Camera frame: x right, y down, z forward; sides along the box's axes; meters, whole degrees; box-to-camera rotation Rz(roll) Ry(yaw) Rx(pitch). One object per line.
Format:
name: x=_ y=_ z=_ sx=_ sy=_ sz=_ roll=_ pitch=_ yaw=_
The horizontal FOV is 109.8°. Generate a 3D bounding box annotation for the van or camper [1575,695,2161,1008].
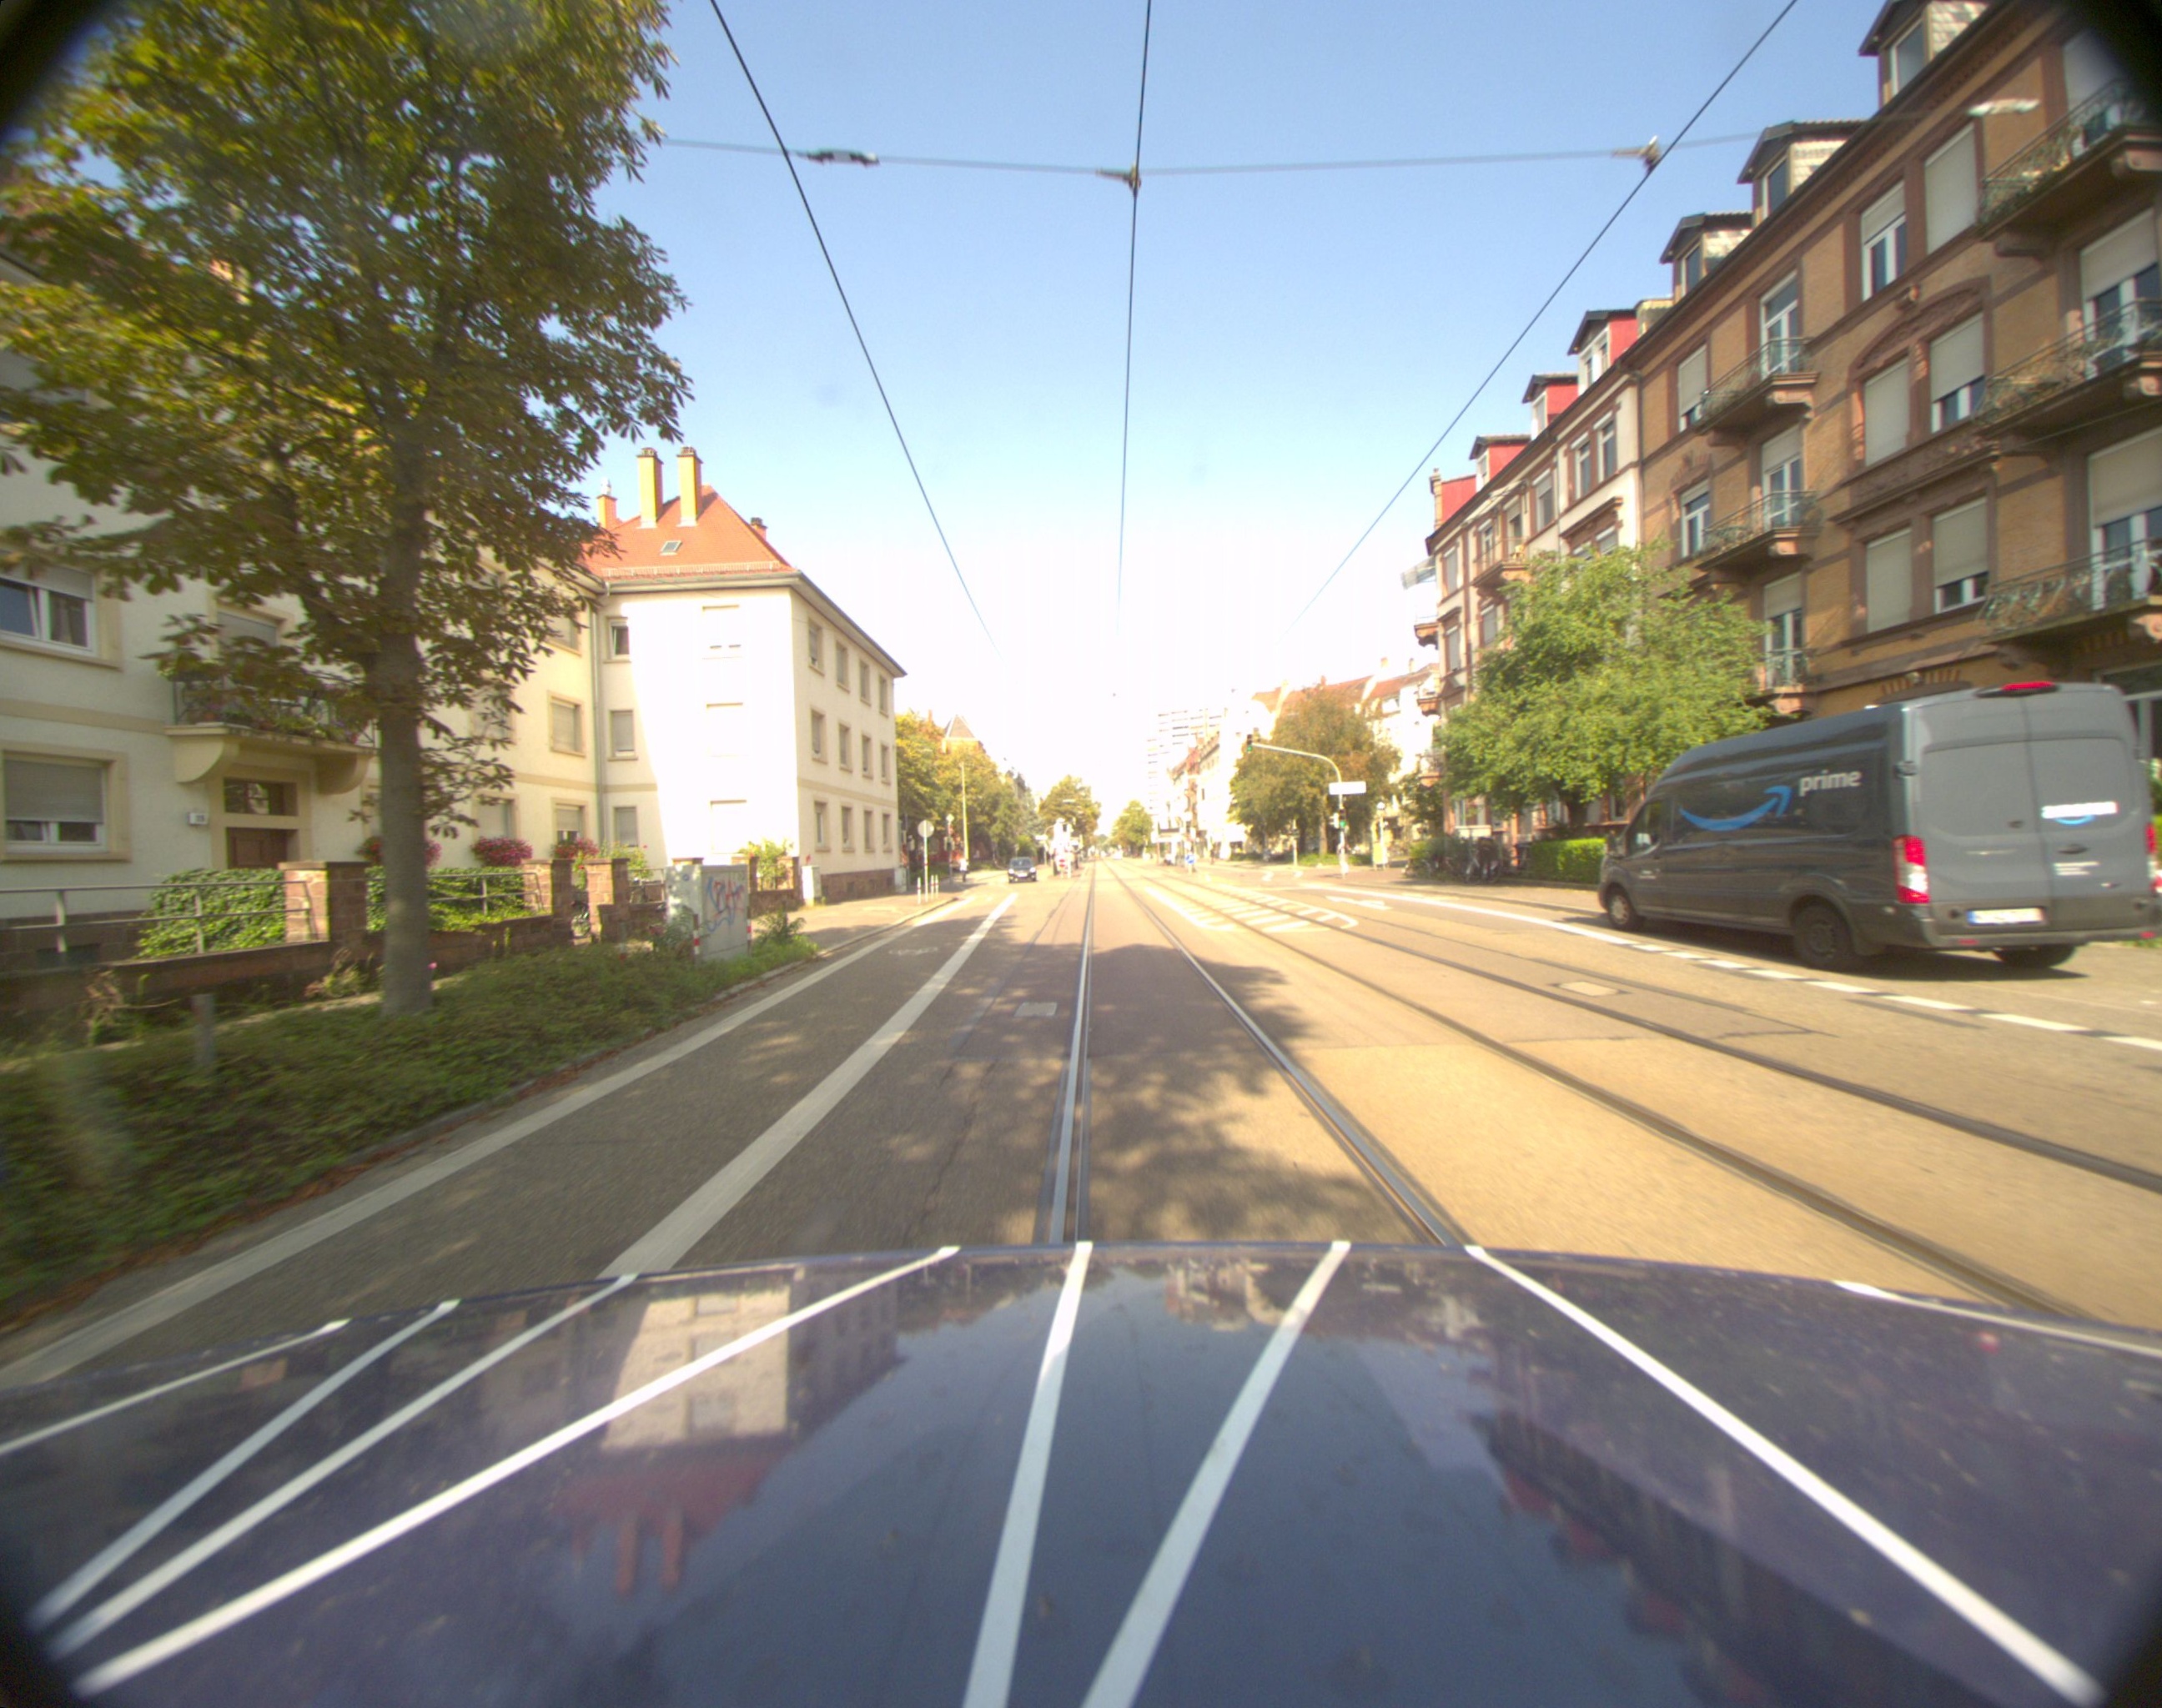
van or camper: x=8.836 y=-0.054 z=9.497 sx=2.054 sy=2.629 sz=6.092 roll=-2 pitch=1 yaw=8

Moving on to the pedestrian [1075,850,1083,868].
pedestrian: x=-0.183 y=0.448 z=71.465 sx=0.590 sy=1.711 sz=0.607 roll=-2 pitch=1 yaw=3

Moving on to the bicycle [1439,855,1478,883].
bicycle: x=12.494 y=0.478 z=25.189 sx=0.527 sy=0.855 sz=1.703 roll=-3 pitch=0 yaw=4

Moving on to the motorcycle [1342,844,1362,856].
motorcycle: x=29.860 y=-0.413 z=83.734 sx=1.885 sy=1.170 sz=0.677 roll=-4 pitch=1 yaw=-14

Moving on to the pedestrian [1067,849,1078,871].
pedestrian: x=-0.701 y=0.482 z=61.412 sx=0.769 sy=1.750 sz=0.680 roll=-2 pitch=1 yaw=0

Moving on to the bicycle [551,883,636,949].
bicycle: x=-10.180 y=1.263 z=15.929 sx=0.455 sy=1.209 sz=1.740 roll=-3 pitch=1 yaw=6

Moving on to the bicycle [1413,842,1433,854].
bicycle: x=32.614 y=-0.604 z=72.519 sx=0.774 sy=1.097 sz=2.333 roll=-3 pitch=0 yaw=-1

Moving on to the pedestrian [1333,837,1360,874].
pedestrian: x=13.051 y=0.052 z=37.378 sx=0.907 sy=1.756 sz=1.186 roll=-2 pitch=1 yaw=5

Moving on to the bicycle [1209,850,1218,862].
bicycle: x=13.093 y=0.209 z=75.138 sx=0.686 sy=1.097 sz=2.069 roll=-2 pitch=0 yaw=3

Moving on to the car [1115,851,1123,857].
car: x=8.210 y=-0.005 z=165.251 sx=1.732 sy=1.426 sz=3.922 roll=-2 pitch=0 yaw=2

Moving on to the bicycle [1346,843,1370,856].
bicycle: x=30.157 y=-0.464 z=82.850 sx=2.303 sy=1.363 sz=0.867 roll=-2 pitch=1 yaw=-10

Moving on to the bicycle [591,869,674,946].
bicycle: x=-9.306 y=1.064 z=15.842 sx=0.455 sy=1.446 sz=1.740 roll=-3 pitch=1 yaw=6

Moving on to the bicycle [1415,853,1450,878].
bicycle: x=12.975 y=0.422 z=28.088 sx=0.527 sy=0.855 sz=1.828 roll=-3 pitch=0 yaw=4

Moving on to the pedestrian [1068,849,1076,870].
pedestrian: x=-0.786 y=0.451 z=65.408 sx=0.553 sy=1.750 sz=0.533 roll=-2 pitch=1 yaw=0

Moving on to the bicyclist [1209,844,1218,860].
bicyclist: x=13.078 y=-0.200 z=75.074 sx=0.674 sy=1.605 sz=1.044 roll=-2 pitch=1 yaw=3

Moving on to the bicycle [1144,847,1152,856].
bicycle: x=14.628 y=-0.476 z=166.528 sx=1.015 sy=1.847 sz=3.554 roll=-4 pitch=1 yaw=-4

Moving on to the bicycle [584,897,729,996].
bicycle: x=-5.978 y=1.257 z=10.907 sx=0.774 sy=1.097 sz=2.333 roll=-2 pitch=0 yaw=-1

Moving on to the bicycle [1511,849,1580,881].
bicycle: x=13.721 y=0.316 z=22.462 sx=1.701 sy=0.855 sz=0.528 roll=-3 pitch=0 yaw=2

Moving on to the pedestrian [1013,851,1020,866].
pedestrian: x=-7.490 y=0.564 z=88.285 sx=0.543 sy=1.708 sz=0.662 roll=-2 pitch=1 yaw=17

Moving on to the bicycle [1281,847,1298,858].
bicycle: x=24.732 y=-0.181 z=89.954 sx=2.345 sy=1.073 sz=0.695 roll=-4 pitch=2 yaw=-41

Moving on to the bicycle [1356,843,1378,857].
bicycle: x=30.723 y=-0.401 z=81.628 sx=2.306 sy=1.363 sz=0.866 roll=-2 pitch=1 yaw=-28

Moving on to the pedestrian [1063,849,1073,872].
pedestrian: x=-0.991 y=0.482 z=57.991 sx=0.691 sy=1.756 sz=0.796 roll=-2 pitch=1 yaw=0

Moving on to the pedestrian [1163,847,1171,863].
pedestrian: x=7.880 y=0.062 z=69.720 sx=0.678 sy=1.448 sz=0.718 roll=-2 pitch=1 yaw=2

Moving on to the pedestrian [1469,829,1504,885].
pedestrian: x=12.232 y=0.089 z=22.943 sx=0.639 sy=1.668 sz=0.633 roll=-2 pitch=1 yaw=-11

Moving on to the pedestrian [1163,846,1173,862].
pedestrian: x=7.818 y=-0.013 z=68.639 sx=0.794 sy=1.448 sz=0.718 roll=-2 pitch=1 yaw=2

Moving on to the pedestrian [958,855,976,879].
pedestrian: x=-8.004 y=0.903 z=53.210 sx=1.079 sy=1.715 sz=0.969 roll=1 pitch=1 yaw=0

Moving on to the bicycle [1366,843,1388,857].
bicycle: x=31.190 y=-0.383 z=80.083 sx=2.306 sy=1.363 sz=0.866 roll=-2 pitch=1 yaw=-28

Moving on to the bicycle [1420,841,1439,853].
bicycle: x=33.269 y=-0.639 z=72.544 sx=0.656 sy=1.097 sz=2.333 roll=-3 pitch=0 yaw=-1

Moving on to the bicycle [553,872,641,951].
bicycle: x=-9.812 y=1.126 z=15.476 sx=0.455 sy=1.446 sz=1.740 roll=-3 pitch=1 yaw=6

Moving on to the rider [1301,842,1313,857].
rider: x=24.282 y=-0.487 z=81.677 sx=0.996 sy=1.503 sz=1.114 roll=-3 pitch=1 yaw=5

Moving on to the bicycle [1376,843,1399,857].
bicycle: x=31.793 y=-0.433 z=78.903 sx=2.306 sy=1.363 sz=0.866 roll=-2 pitch=1 yaw=-28

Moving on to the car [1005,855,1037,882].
car: x=-3.567 y=0.823 z=45.597 sx=1.776 sy=1.459 sz=3.999 roll=-3 pitch=0 yaw=-3

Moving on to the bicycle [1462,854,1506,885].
bicycle: x=12.428 y=0.464 z=23.495 sx=0.527 sy=0.922 sz=1.703 roll=-3 pitch=0 yaw=4

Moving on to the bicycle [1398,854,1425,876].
bicycle: x=13.845 y=0.463 z=31.782 sx=0.526 sy=0.855 sz=1.831 roll=-2 pitch=0 yaw=40

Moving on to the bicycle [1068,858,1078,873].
bicycle: x=-0.612 y=0.843 z=57.894 sx=0.473 sy=1.097 sz=1.738 roll=-2 pitch=0 yaw=9

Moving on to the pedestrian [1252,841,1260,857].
pedestrian: x=21.989 y=-0.627 z=95.618 sx=0.735 sy=1.857 sz=0.673 roll=-2 pitch=1 yaw=-3

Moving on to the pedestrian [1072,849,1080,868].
pedestrian: x=-0.490 y=0.443 z=72.878 sx=0.638 sy=1.738 sz=0.634 roll=-2 pitch=1 yaw=3

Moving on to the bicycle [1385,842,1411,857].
bicycle: x=32.271 y=-0.471 z=77.413 sx=2.303 sy=1.363 sz=0.867 roll=-2 pitch=1 yaw=-11

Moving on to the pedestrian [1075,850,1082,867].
pedestrian: x=-0.236 y=0.452 z=70.820 sx=0.590 sy=1.535 sz=0.607 roll=-2 pitch=1 yaw=3
